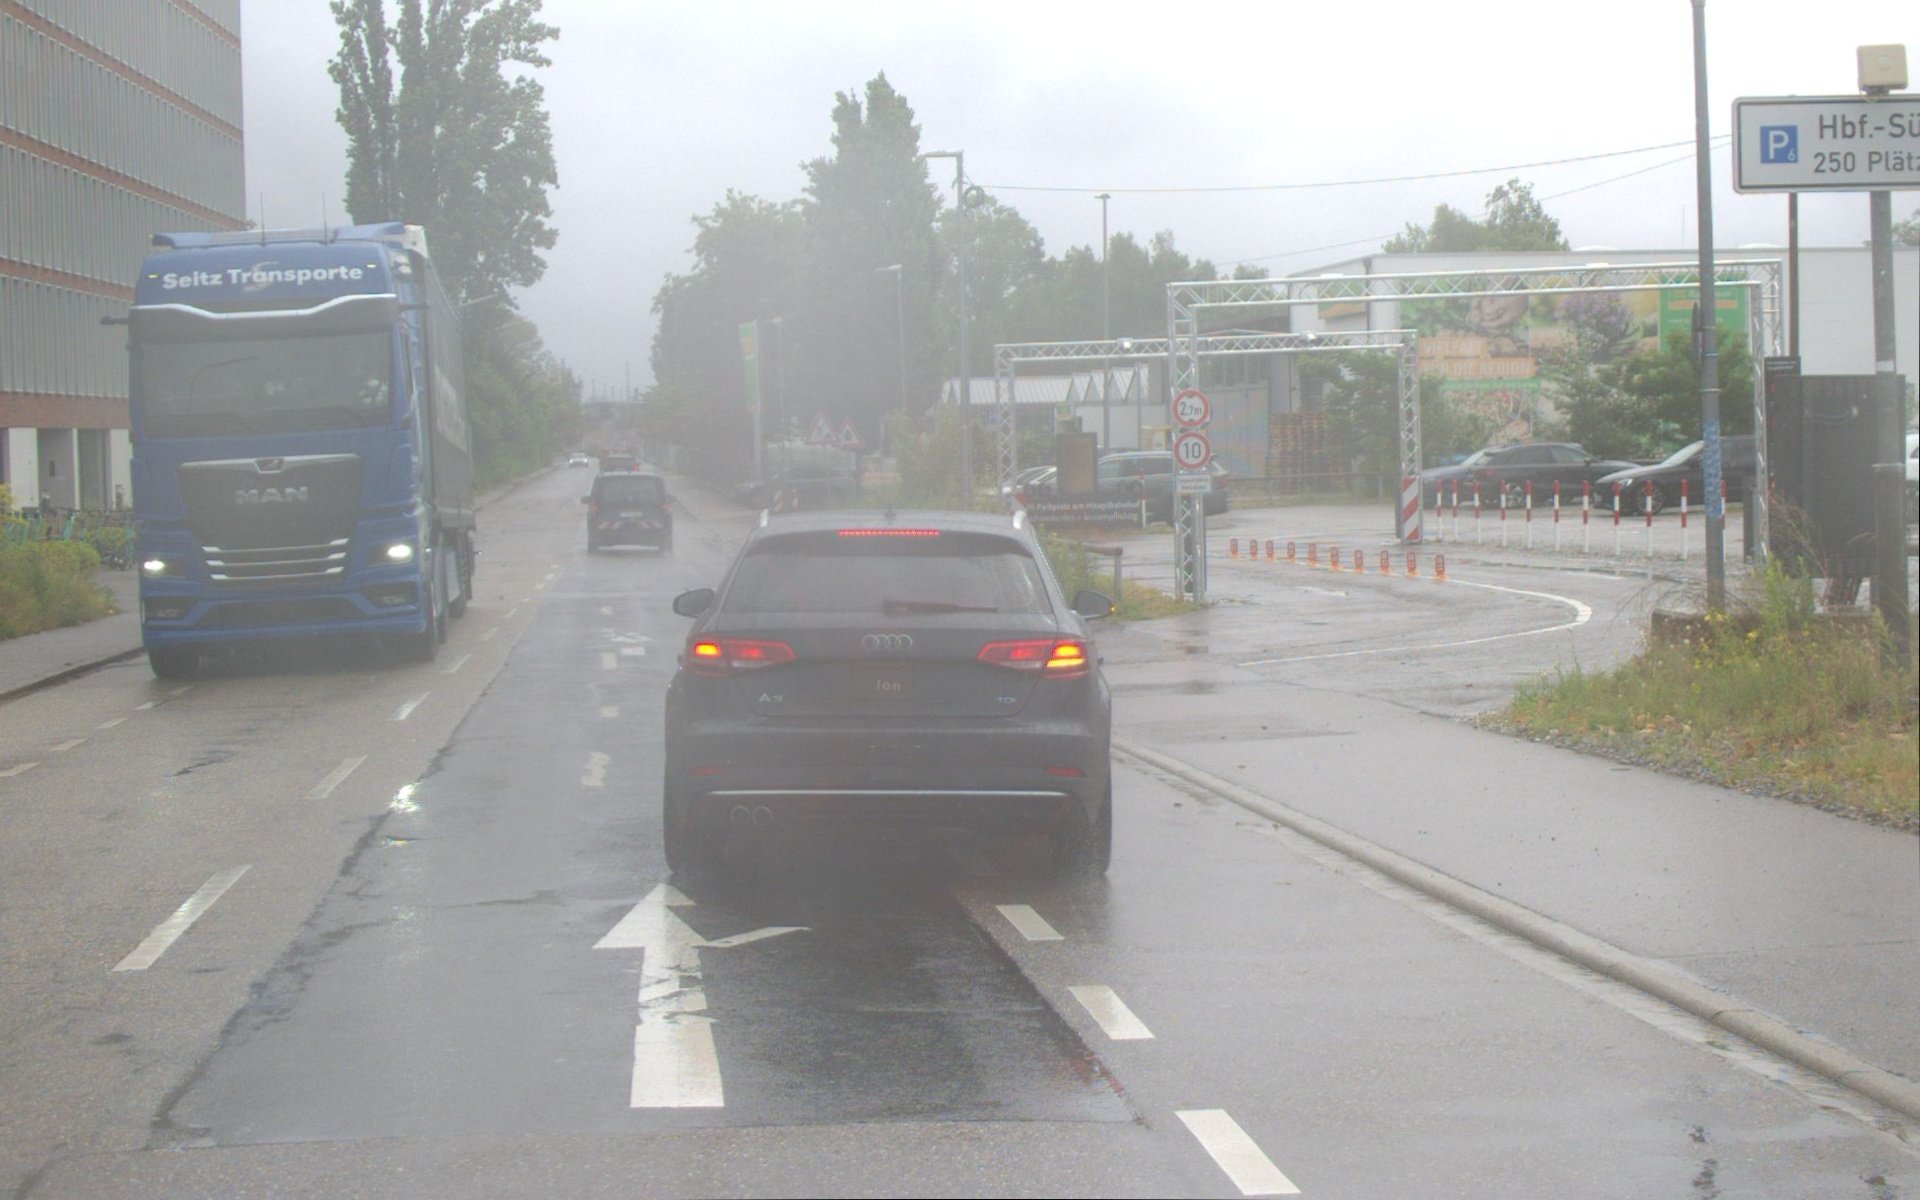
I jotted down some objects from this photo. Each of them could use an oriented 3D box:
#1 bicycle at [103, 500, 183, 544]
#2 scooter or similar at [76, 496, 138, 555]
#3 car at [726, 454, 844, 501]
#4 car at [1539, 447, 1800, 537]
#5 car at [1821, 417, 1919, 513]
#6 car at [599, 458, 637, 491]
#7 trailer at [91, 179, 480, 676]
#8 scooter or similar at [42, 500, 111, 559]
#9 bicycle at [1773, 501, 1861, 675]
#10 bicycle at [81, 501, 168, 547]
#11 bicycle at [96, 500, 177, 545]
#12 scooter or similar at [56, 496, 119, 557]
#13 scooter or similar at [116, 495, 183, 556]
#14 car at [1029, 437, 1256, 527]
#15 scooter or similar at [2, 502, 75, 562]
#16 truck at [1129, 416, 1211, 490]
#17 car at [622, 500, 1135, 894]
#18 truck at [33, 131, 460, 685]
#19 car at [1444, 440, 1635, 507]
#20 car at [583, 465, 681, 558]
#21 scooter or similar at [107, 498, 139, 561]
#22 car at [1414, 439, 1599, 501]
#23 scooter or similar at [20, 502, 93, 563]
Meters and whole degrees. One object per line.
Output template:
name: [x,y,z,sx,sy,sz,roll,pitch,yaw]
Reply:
bicycle: [-20.209,-1.924,85.040,1.859,1.073,0.544,0,2,-6]
scooter or similar: [-18.158,-1.590,73.175,0.467,1.204,1.205,0,3,37]
car: [-6.239,-4.385,122.619,4.135,1.563,1.765,-2,2,-3]
car: [13.983,-2.129,67.831,4.618,1.710,2.020,-1,1,-11]
car: [16.368,-2.290,56.493,3.829,1.479,1.928,-4,1,-2]
car: [-17.987,-6.592,180.901,1.730,1.681,3.898,-1,2,-3]
trailer: [-7.352,-1.892,39.521,3.293,4.637,13.737,-2,2,-7]
scooter or similar: [-18.358,-1.472,71.400,1.316,1.173,0.467,-3,3,-17]
bicycle: [5.757,-0.100,23.046,0.507,1.080,1.702,-1,2,15]
bicycle: [-19.851,-1.804,81.743,1.948,1.073,0.621,0,2,-6]
bicycle: [-20.158,-1.898,84.179,1.859,1.073,0.544,0,2,-6]
scooter or similar: [-18.329,-1.544,72.238,0.467,1.226,1.205,0,3,37]
scooter or similar: [-16.954,-1.562,71.912,1.318,1.226,0.467,-1,3,24]
car: [3.883,-2.516,73.803,4.681,1.729,2.128,-2,1,-1]
scooter or similar: [-18.792,-1.383,70.127,1.316,1.173,0.467,-2,2,0]
truck: [8.016,-5.671,131.901,2.301,2.650,7.418,-3,3,-2]
car: [-0.351,0.300,14.876,1.894,1.451,4.228,0,2,-1]
truck: [-6.495,-1.751,32.269,3.293,4.637,6.035,-2,2,-7]
car: [13.406,-2.930,79.698,3.986,1.480,2.000,-1,1,-4]
car: [-7.186,-1.958,75.045,1.993,1.903,4.202,-2,2,-6]
scooter or similar: [-16.837,-1.426,69.157,0.466,1.226,1.321,-2,3,-8]
car: [13.020,-3.088,82.086,3.986,1.404,2.000,-1,1,-4]
scooter or similar: [-18.300,-1.365,69.625,1.316,1.173,0.467,-2,2,0]
